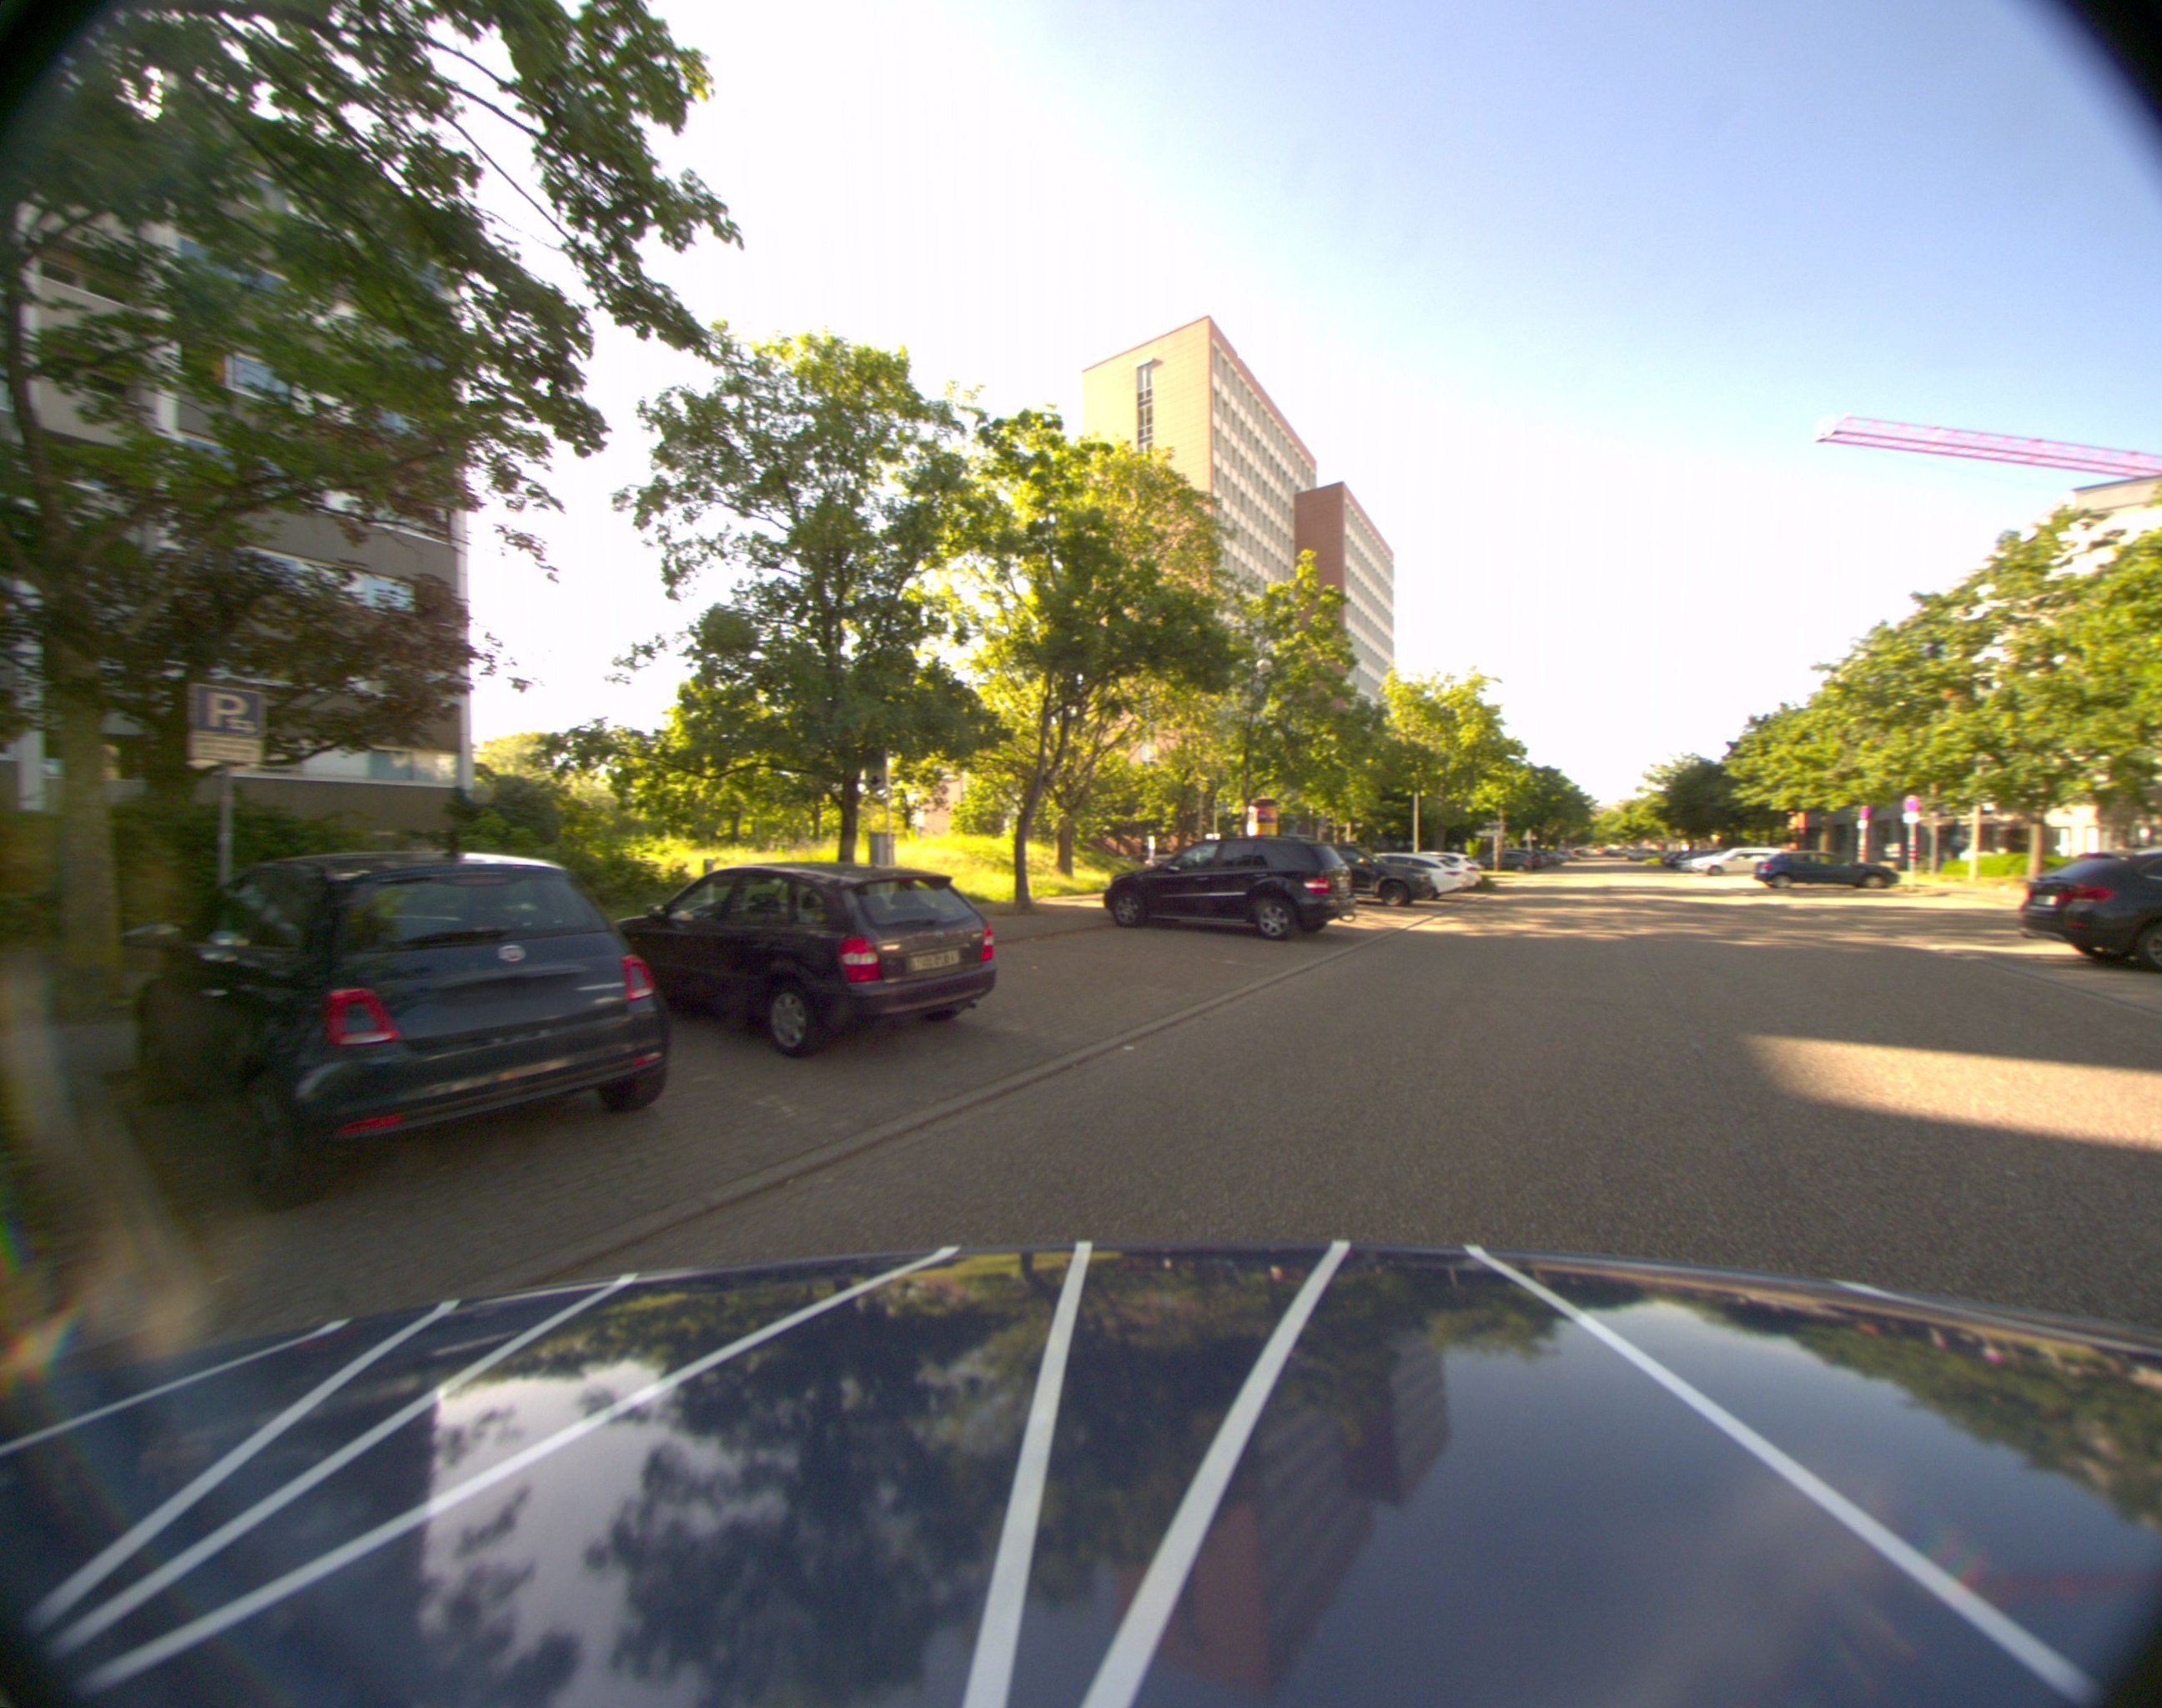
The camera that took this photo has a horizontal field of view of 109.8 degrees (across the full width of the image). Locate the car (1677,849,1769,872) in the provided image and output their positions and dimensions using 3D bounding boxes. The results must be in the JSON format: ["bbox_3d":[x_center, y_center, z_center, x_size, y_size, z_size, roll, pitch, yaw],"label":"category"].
[{"bbox_3d":[43.670,0.427,51.794,4.511,1.443,1.945,-2,0,30],"label":"car"}]

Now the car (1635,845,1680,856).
[{"bbox_3d":[85.465,-0.505,112.689,5.242,1.615,1.957,-1,0,36],"label":"car"}]

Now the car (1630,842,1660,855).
[{"bbox_3d":[95.808,-0.904,129.145,3.989,2.094,2.004,-1,1,33],"label":"car"}]

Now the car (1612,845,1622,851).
[{"bbox_3d":[128.968,-1.367,182.786,1.763,1.365,4.008,1,1,37],"label":"car"}]

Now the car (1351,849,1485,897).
[{"bbox_3d":[12.934,0.674,29.235,4.428,1.584,1.840,2,2,32],"label":"car"}]

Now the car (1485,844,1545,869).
[{"bbox_3d":[32.748,0.167,57.342,3.673,1.741,1.728,2,2,37],"label":"car"}]

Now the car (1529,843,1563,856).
[{"bbox_3d":[66.874,-0.664,109.260,4.155,1.696,2.004,-1,1,32],"label":"car"}]

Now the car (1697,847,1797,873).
[{"bbox_3d":[39.281,0.353,44.944,4.260,1.471,1.804,0,0,34],"label":"car"}]

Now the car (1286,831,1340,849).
[{"bbox_3d":[22.715,-1.319,74.491,4.718,1.676,1.879,0,1,31],"label":"car"}]

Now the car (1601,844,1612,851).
[{"bbox_3d":[126.381,-1.487,182.789,1.947,1.617,4.008,1,1,37],"label":"car"}]

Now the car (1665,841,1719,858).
[{"bbox_3d":[53.462,-0.373,66.594,3.531,1.428,1.661,-1,1,33],"label":"car"}]

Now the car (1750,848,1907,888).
[{"bbox_3d":[28.644,0.531,29.308,3.989,1.403,1.821,-1,0,31],"label":"car"}]

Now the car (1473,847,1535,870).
[{"bbox_3d":[30.811,0.347,55.391,3.835,1.438,1.595,4,1,32],"label":"car"}]

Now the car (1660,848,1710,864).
[{"bbox_3d":[57.561,0.187,72.467,3.531,1.497,1.649,-1,1,33],"label":"car"}]

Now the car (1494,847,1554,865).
[{"bbox_3d":[39.229,0.143,67.294,4.421,1.544,1.863,1,1,33],"label":"car"}]

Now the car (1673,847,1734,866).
[{"bbox_3d":[52.102,0.233,63.684,3.824,1.405,1.691,-2,-2,33],"label":"car"}]

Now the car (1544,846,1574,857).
[{"bbox_3d":[77.924,-0.429,123.926,3.989,1.773,1.957,-1,1,30],"label":"car"}]

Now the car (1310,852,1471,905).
[{"bbox_3d":[9.718,0.737,23.990,4.444,1.536,1.821,-1,1,32],"label":"car"}]

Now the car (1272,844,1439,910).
[{"bbox_3d":[7.718,0.565,21.476,4.119,1.609,1.737,2,3,33],"label":"car"}]

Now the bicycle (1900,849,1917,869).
[{"bbox_3d":[47.838,0.279,43.937,0.338,1.168,1.631,-1,1,35],"label":"bicycle"}]

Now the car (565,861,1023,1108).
[{"bbox_3d":[-2.680,0.871,6.802,3.987,1.379,1.826,3,3,33],"label":"car"}]

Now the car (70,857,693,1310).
[{"bbox_3d":[-4.229,0.852,4.484,3.809,1.490,1.704,3,2,31],"label":"car"}]

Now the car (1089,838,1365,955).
[{"bbox_3d":[2.619,0.626,14.143,4.588,1.769,2.004,2,2,35],"label":"car"}]

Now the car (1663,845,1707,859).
[{"bbox_3d":[66.844,-0.258,84.117,3.622,1.499,1.621,-1,1,33],"label":"car"}]

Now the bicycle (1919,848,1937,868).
[{"bbox_3d":[48.775,0.220,43.764,0.338,1.168,1.631,-1,1,35],"label":"bicycle"}]

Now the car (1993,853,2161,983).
[{"bbox_3d":[14.322,0.742,8.995,4.194,1.511,1.775,-1,1,35],"label":"car"}]

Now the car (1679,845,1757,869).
[{"bbox_3d":[45.373,0.203,54.263,4.114,1.611,1.807,-1,0,36],"label":"car"}]

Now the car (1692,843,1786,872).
[{"bbox_3d":[41.048,0.226,47.541,4.227,1.593,1.956,-2,0,35],"label":"car"}]
